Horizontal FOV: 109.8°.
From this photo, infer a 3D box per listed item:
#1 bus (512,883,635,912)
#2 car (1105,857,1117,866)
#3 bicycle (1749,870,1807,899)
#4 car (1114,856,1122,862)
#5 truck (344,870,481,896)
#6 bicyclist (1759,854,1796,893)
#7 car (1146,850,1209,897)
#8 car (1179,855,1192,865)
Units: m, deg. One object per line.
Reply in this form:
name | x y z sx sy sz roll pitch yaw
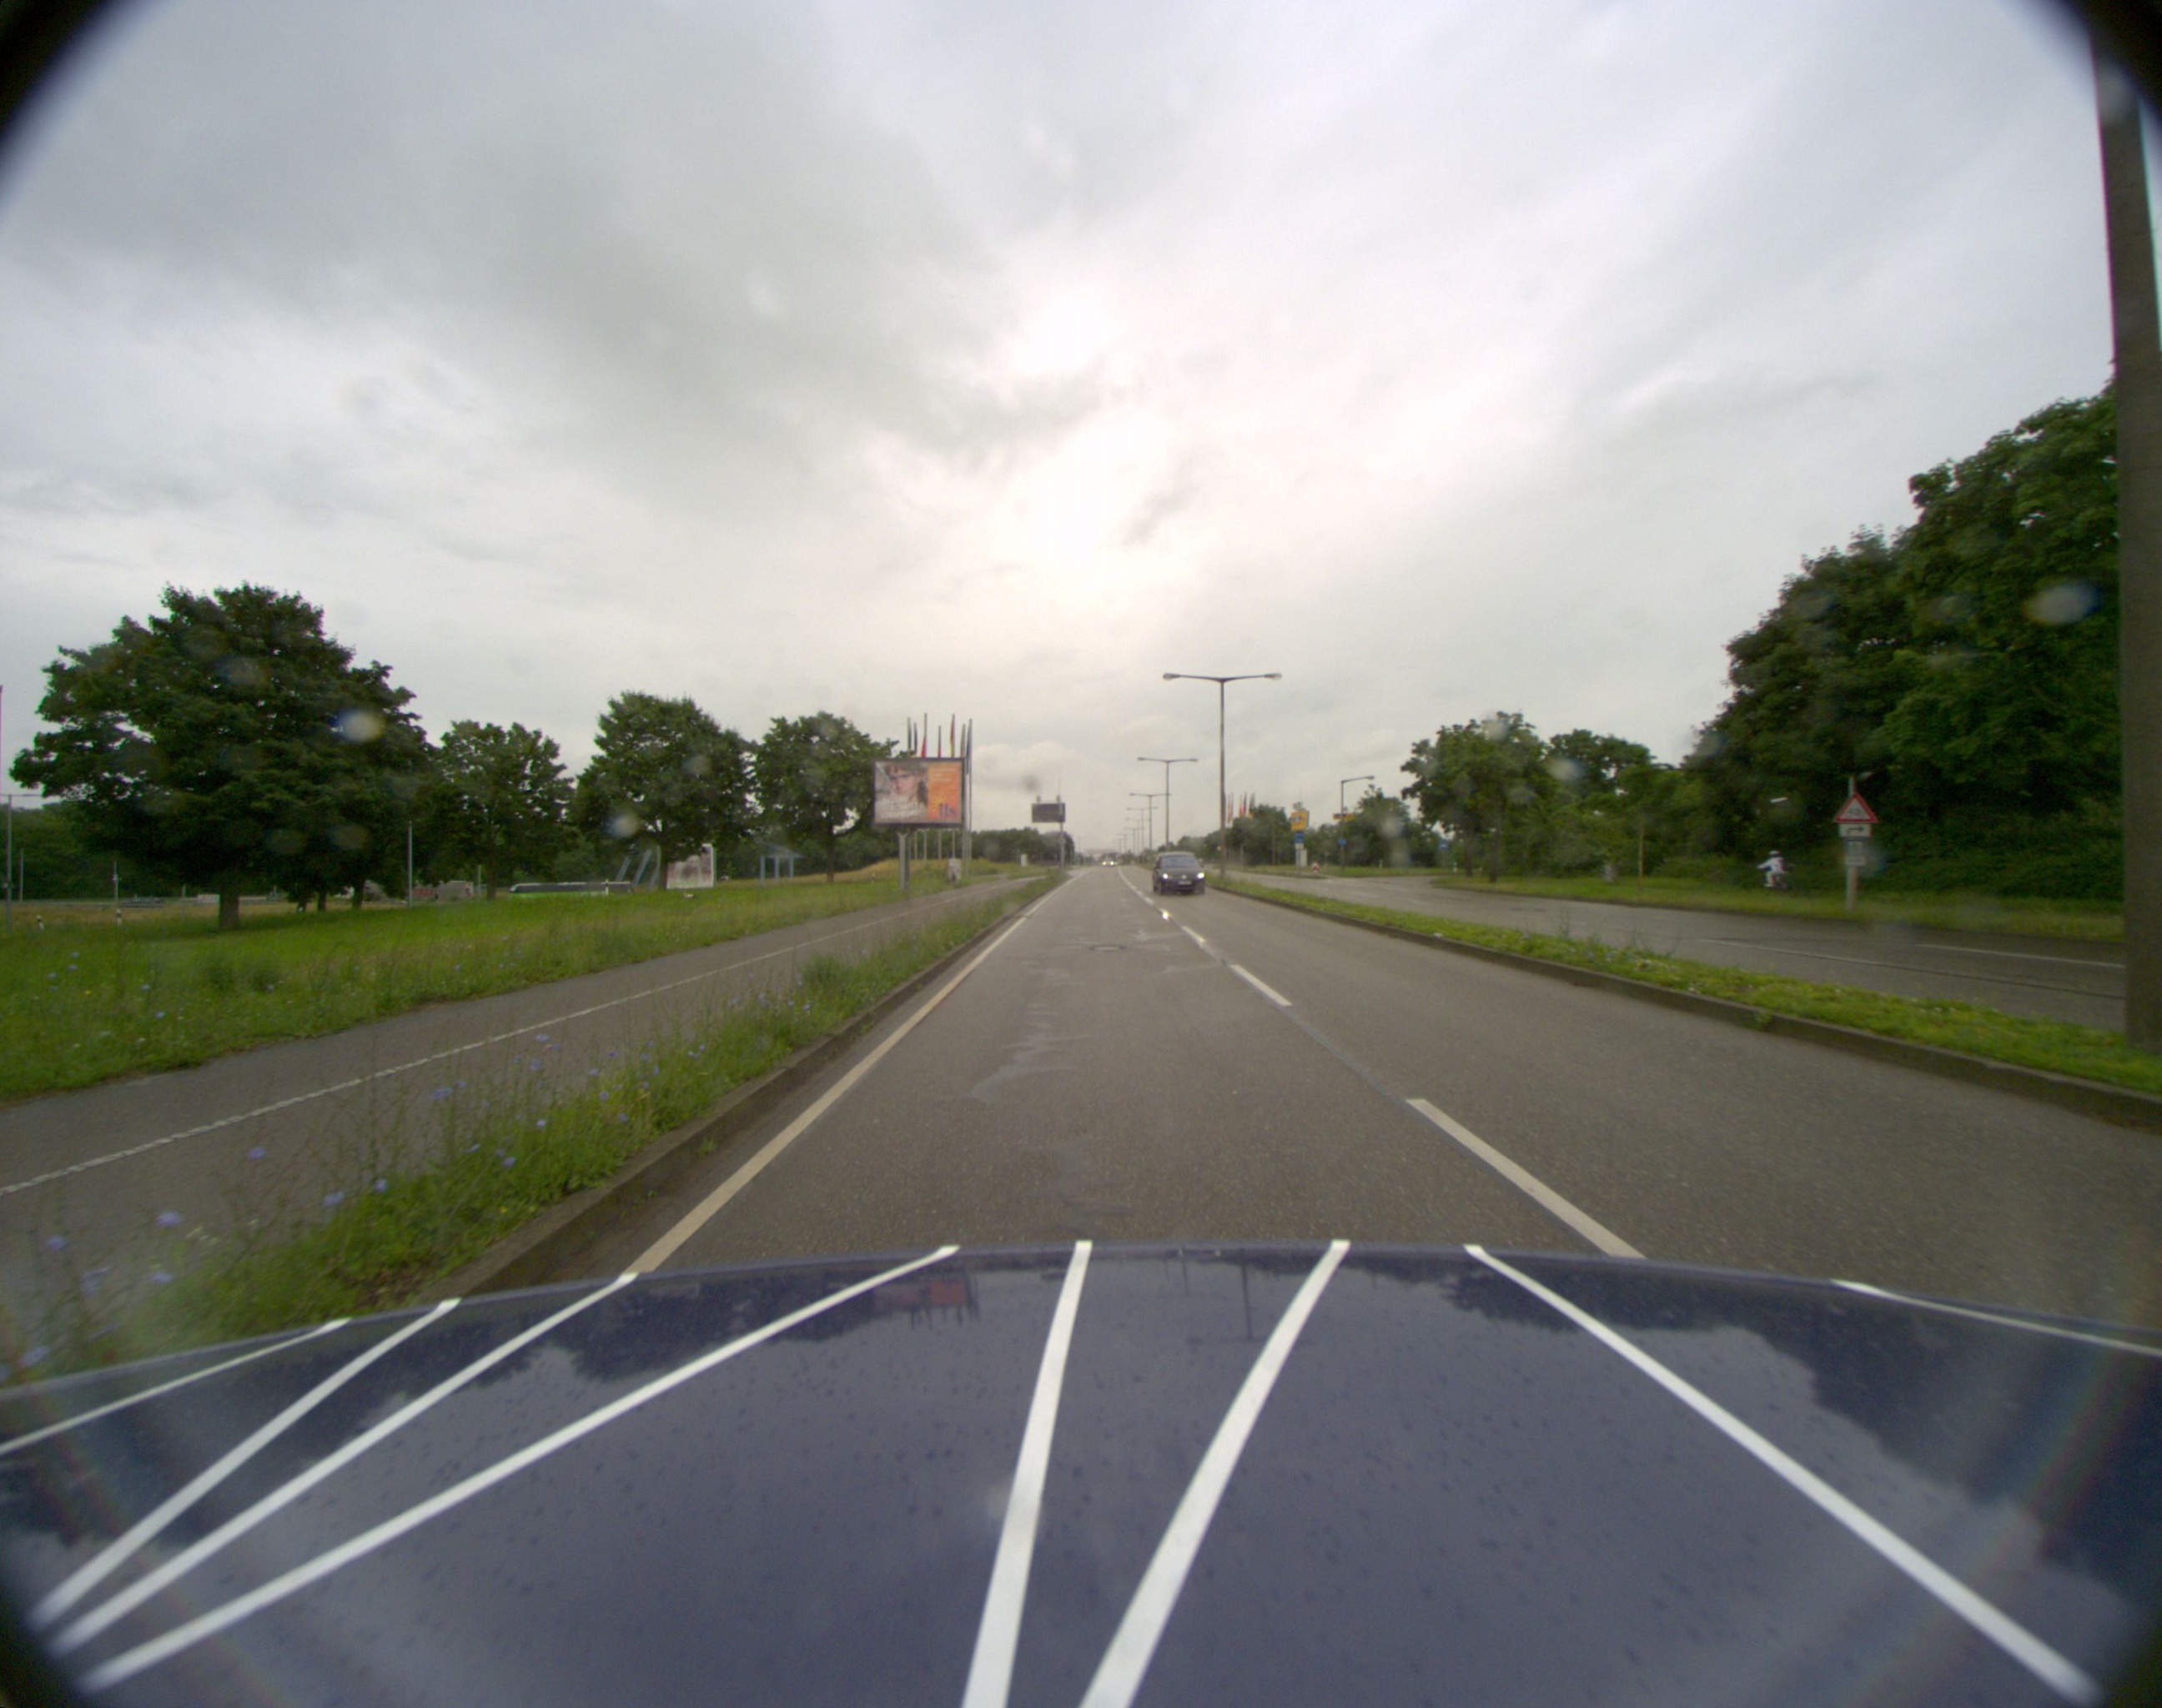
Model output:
bus | -68.483 5.786 103.225 2.756 2.665 14.611 -1 2 23
car | 5.527 1.333 139.104 1.998 1.700 4.000 -1 0 1
bicycle | 23.737 1.026 25.908 0.523 0.880 1.633 -2 0 2
car | 9.884 1.287 205.295 1.998 1.703 4.000 -1 0 1
truck | -105.105 4.529 119.839 16.278 3.371 2.745 -2 0 -19
bicyclist | 23.726 0.652 25.899 0.523 1.295 0.808 -2 1 2
car | 3.941 0.766 31.863 1.850 1.740 4.817 -2 0 -1
car | 17.667 0.988 128.851 1.711 1.620 4.492 1 0 2
